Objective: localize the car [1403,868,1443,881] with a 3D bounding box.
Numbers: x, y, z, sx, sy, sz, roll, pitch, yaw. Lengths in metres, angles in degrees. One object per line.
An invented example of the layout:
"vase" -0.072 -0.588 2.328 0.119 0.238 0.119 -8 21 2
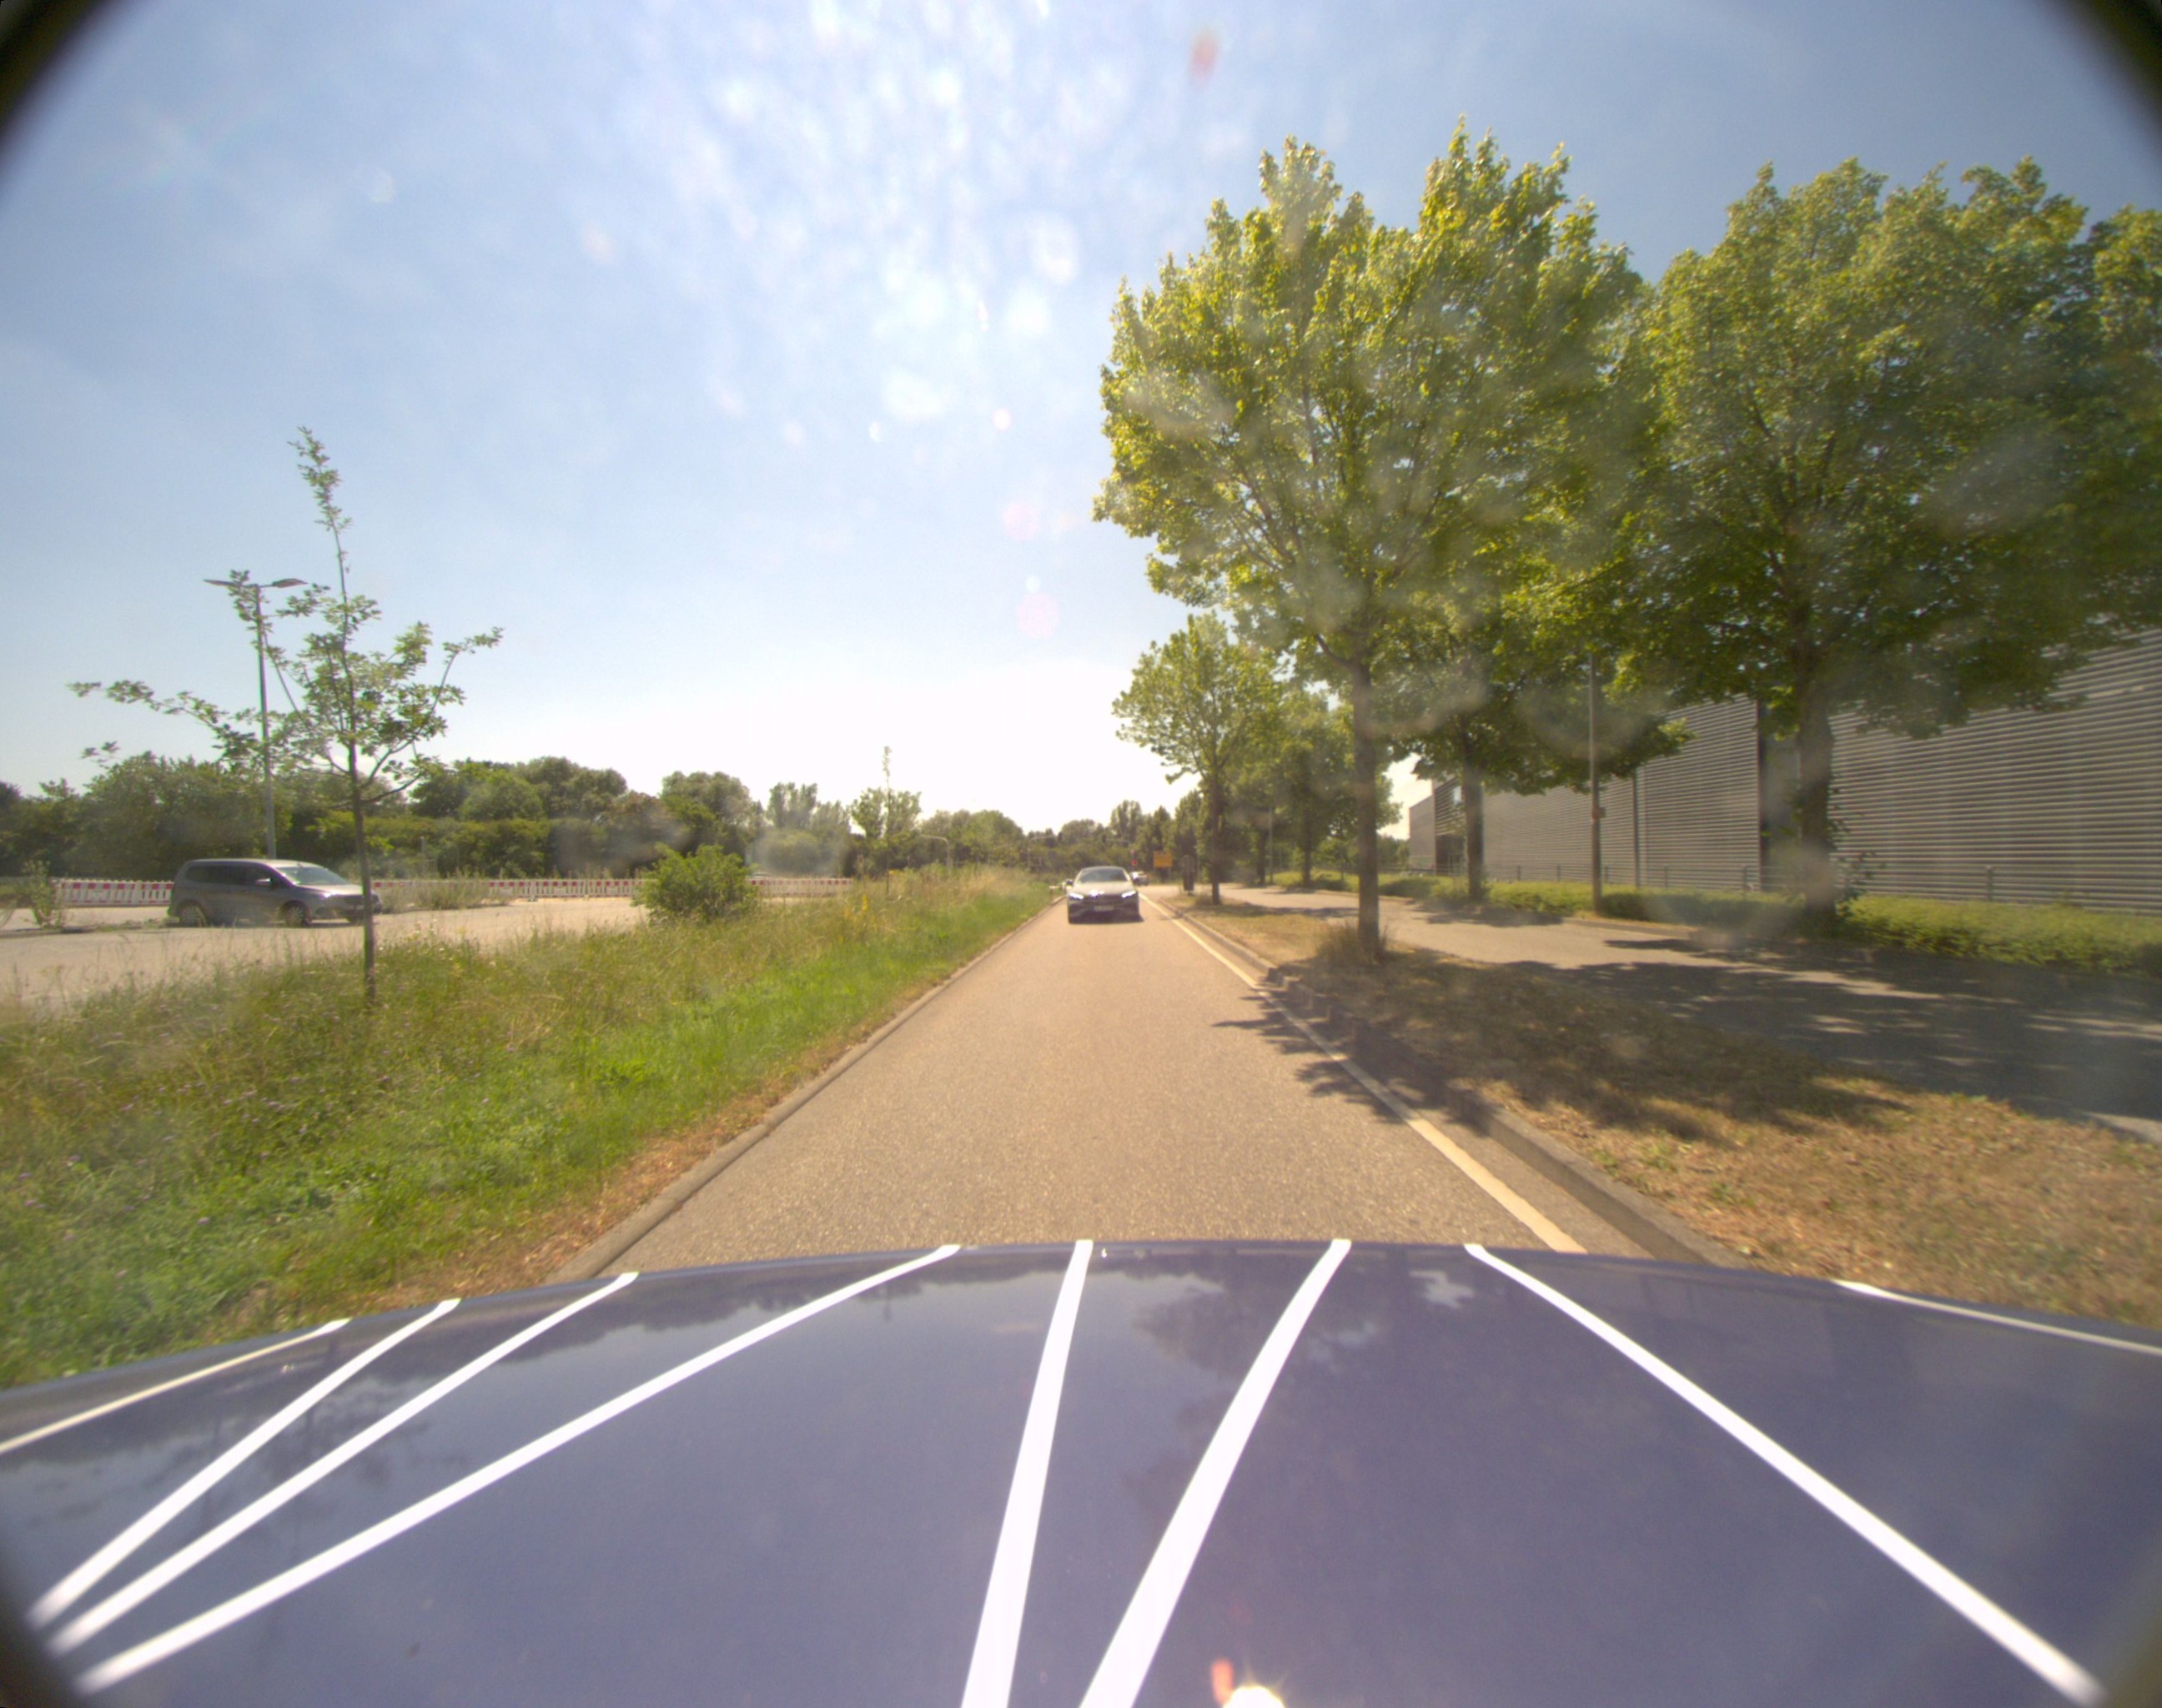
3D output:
"car" 40.420 2.398 89.961 3.992 1.476 2.003 0 -3 13

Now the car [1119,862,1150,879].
"car" 5.659 1.731 81.220 2.001 1.697 3.859 -4 1 -16

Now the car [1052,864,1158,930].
"car" 0.774 1.038 19.992 1.920 1.433 4.486 -4 -1 12

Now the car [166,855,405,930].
"car" -21.675 1.025 20.840 4.474 1.903 1.940 1 -1 0

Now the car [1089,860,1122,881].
"car" 2.602 1.718 80.790 2.001 1.932 4.864 -4 1 -15
